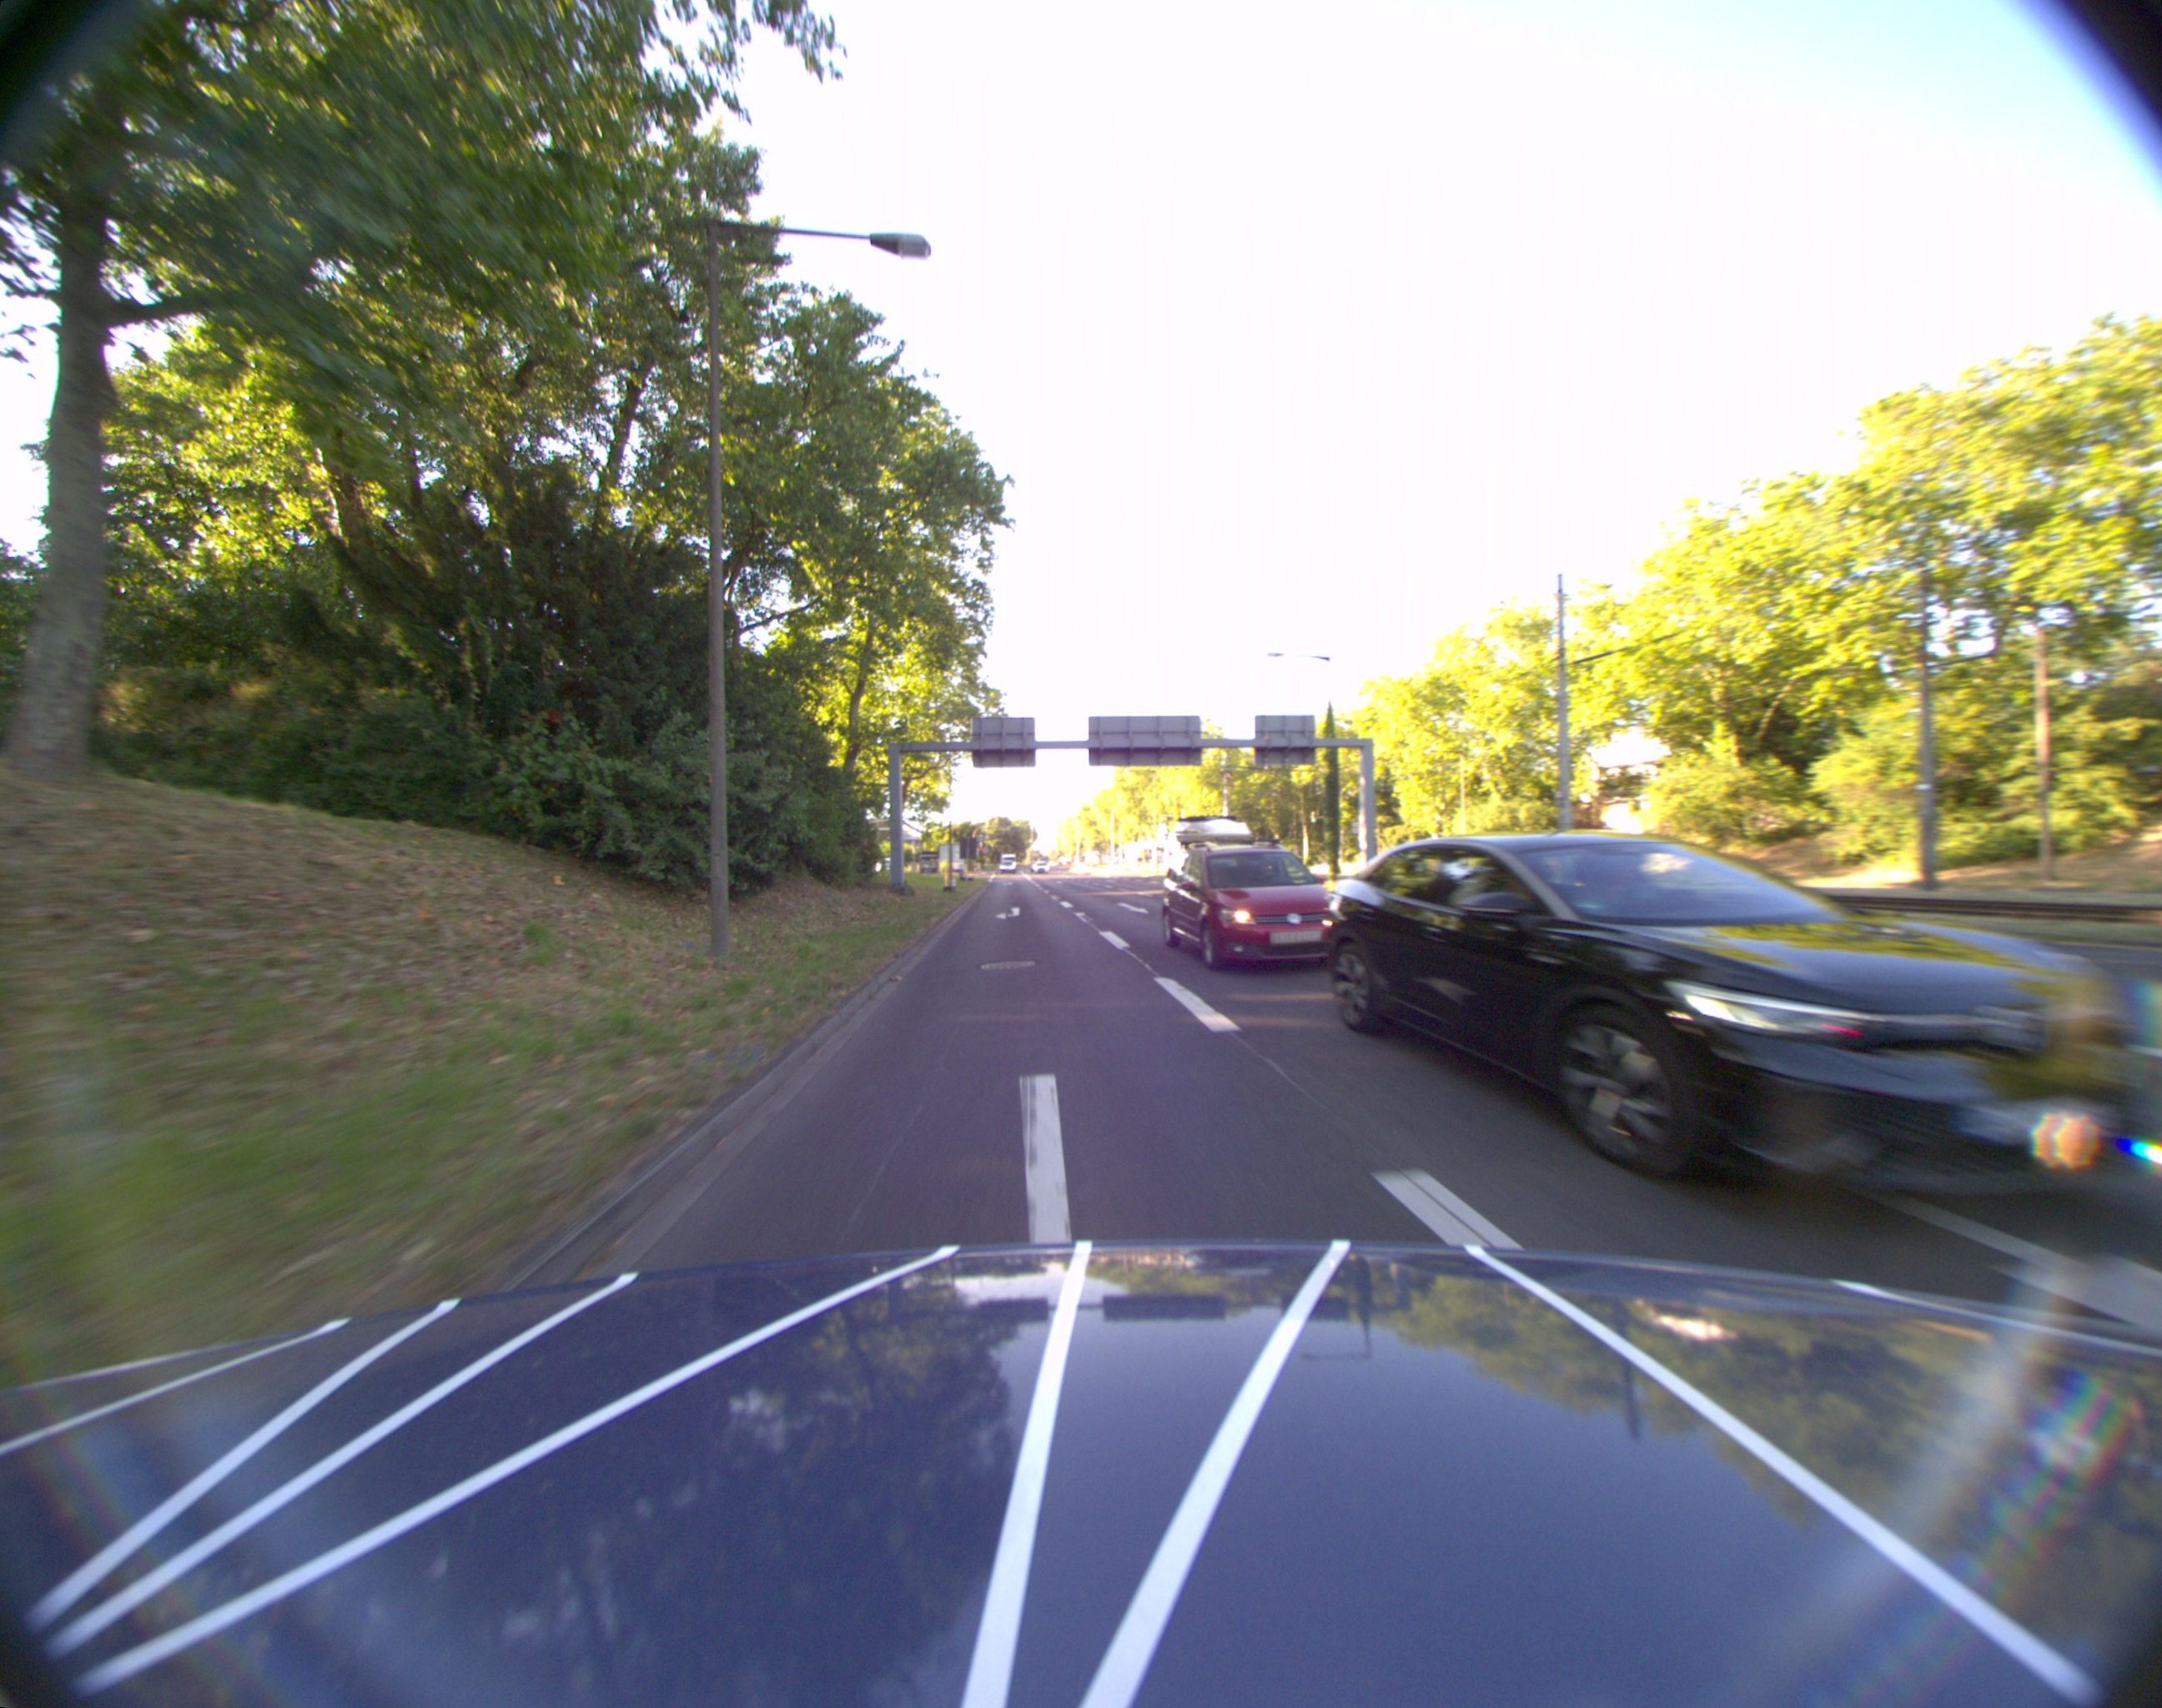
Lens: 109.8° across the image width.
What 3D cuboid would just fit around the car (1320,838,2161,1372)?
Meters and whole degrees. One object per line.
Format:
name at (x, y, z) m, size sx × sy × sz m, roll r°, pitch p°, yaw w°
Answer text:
car at (3.181, 0.866, 4.669) m, size 1.797 × 1.739 × 4.240 m, roll 1°, pitch -1°, yaw -5°

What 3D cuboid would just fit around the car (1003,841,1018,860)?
car at (-9.852, -0.460, 106.084) m, size 2.009 × 2.516 × 5.874 m, roll 0°, pitch -1°, yaw -4°

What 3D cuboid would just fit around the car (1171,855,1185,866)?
car at (19.238, 1.257, 150.477) m, size 1.999 × 2.053 × 4.190 m, roll 0°, pitch -1°, yaw -4°

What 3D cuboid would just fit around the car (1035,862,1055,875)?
car at (-4.608, 1.896, 97.524) m, size 1.874 × 1.608 × 4.003 m, roll 0°, pitch -1°, yaw 6°

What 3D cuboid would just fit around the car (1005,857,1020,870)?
car at (-8.739, 1.164, 96.840) m, size 1.876 × 1.608 × 4.546 m, roll 0°, pitch -1°, yaw -6°

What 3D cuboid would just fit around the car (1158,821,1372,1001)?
car at (2.380, 0.710, 10.935) m, size 1.798 × 2.092 × 3.999 m, roll 1°, pitch -1°, yaw -5°
